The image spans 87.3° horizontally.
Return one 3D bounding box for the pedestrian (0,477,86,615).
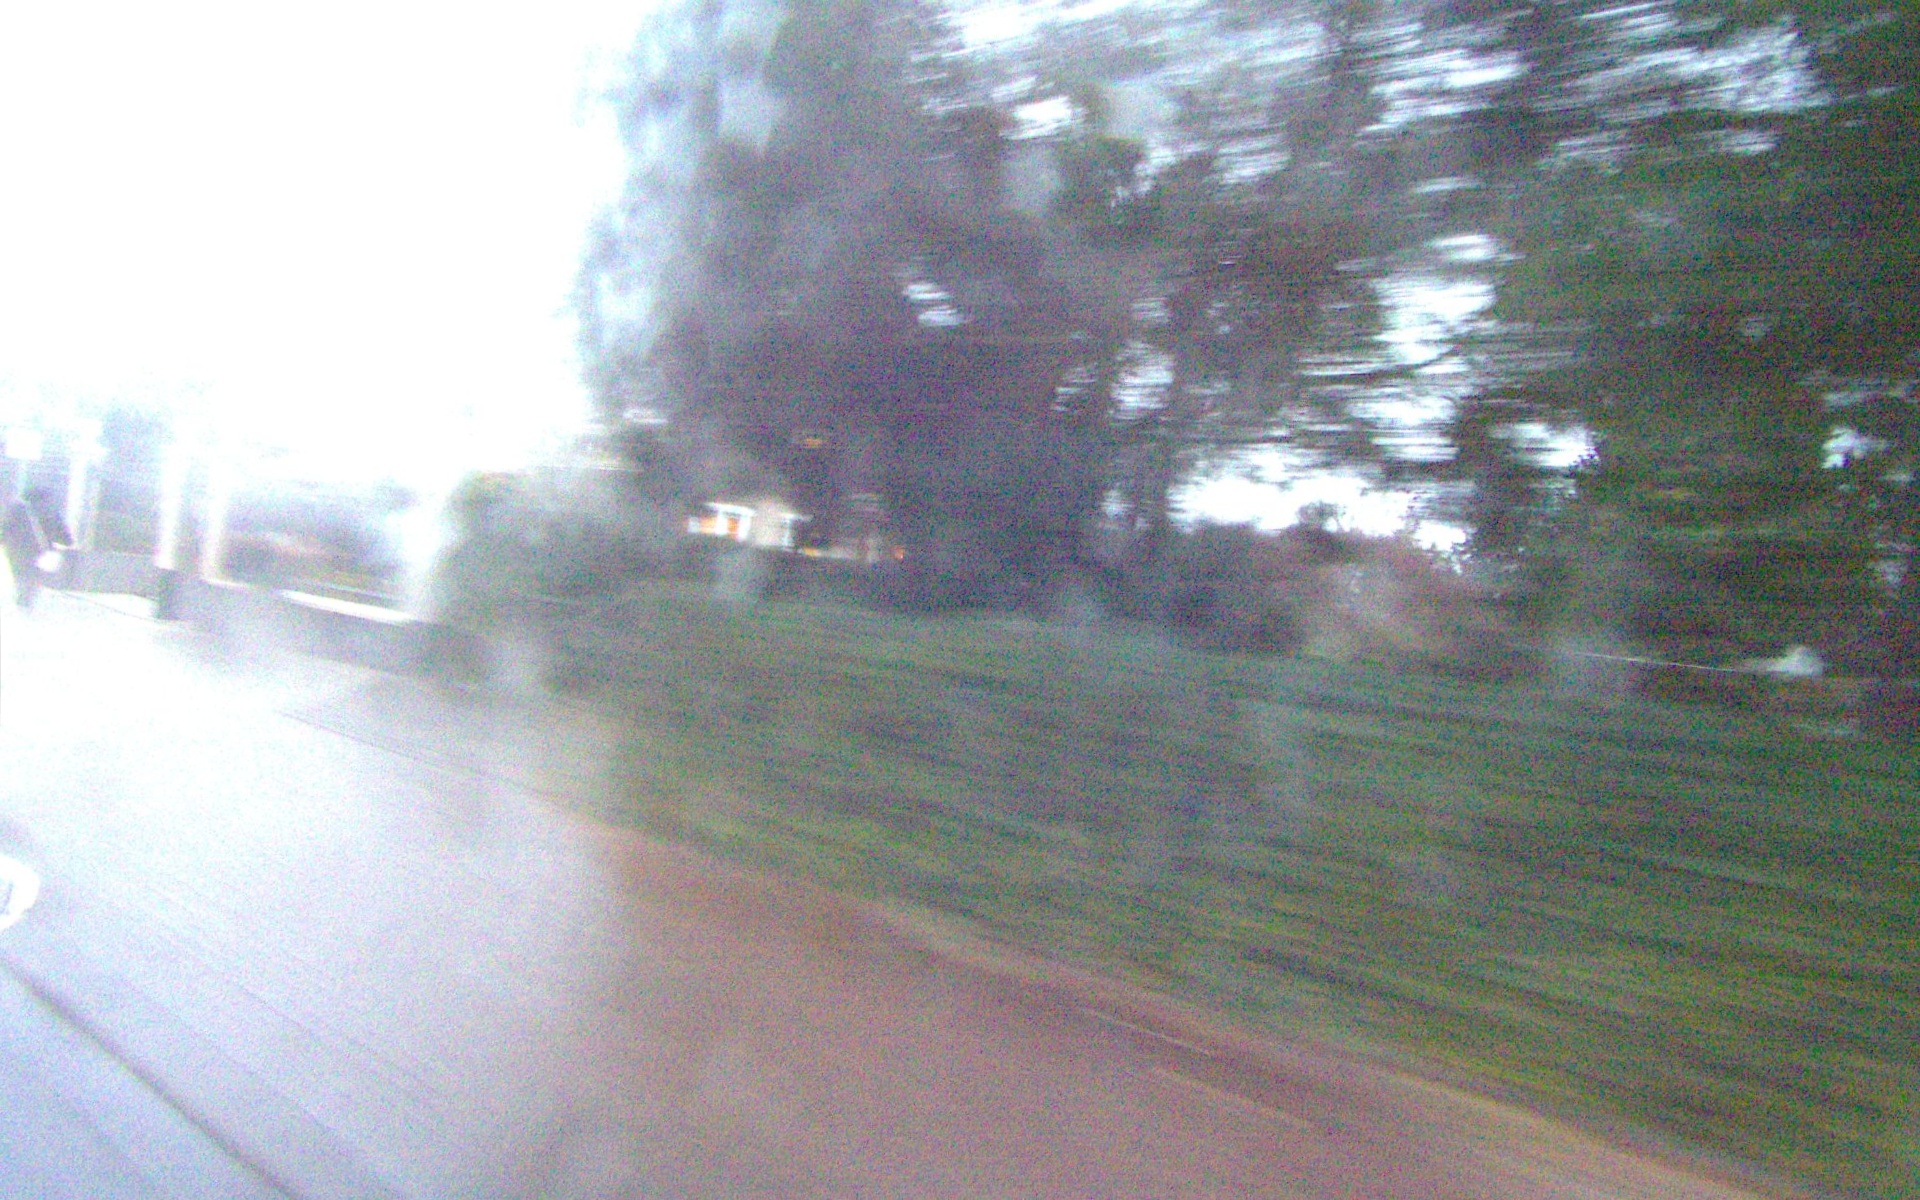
[{"bbox_3d":[-12.746,-0.743,13.688,1.039,1.764,0.987,7,2,35],"label":"pedestrian"}]
